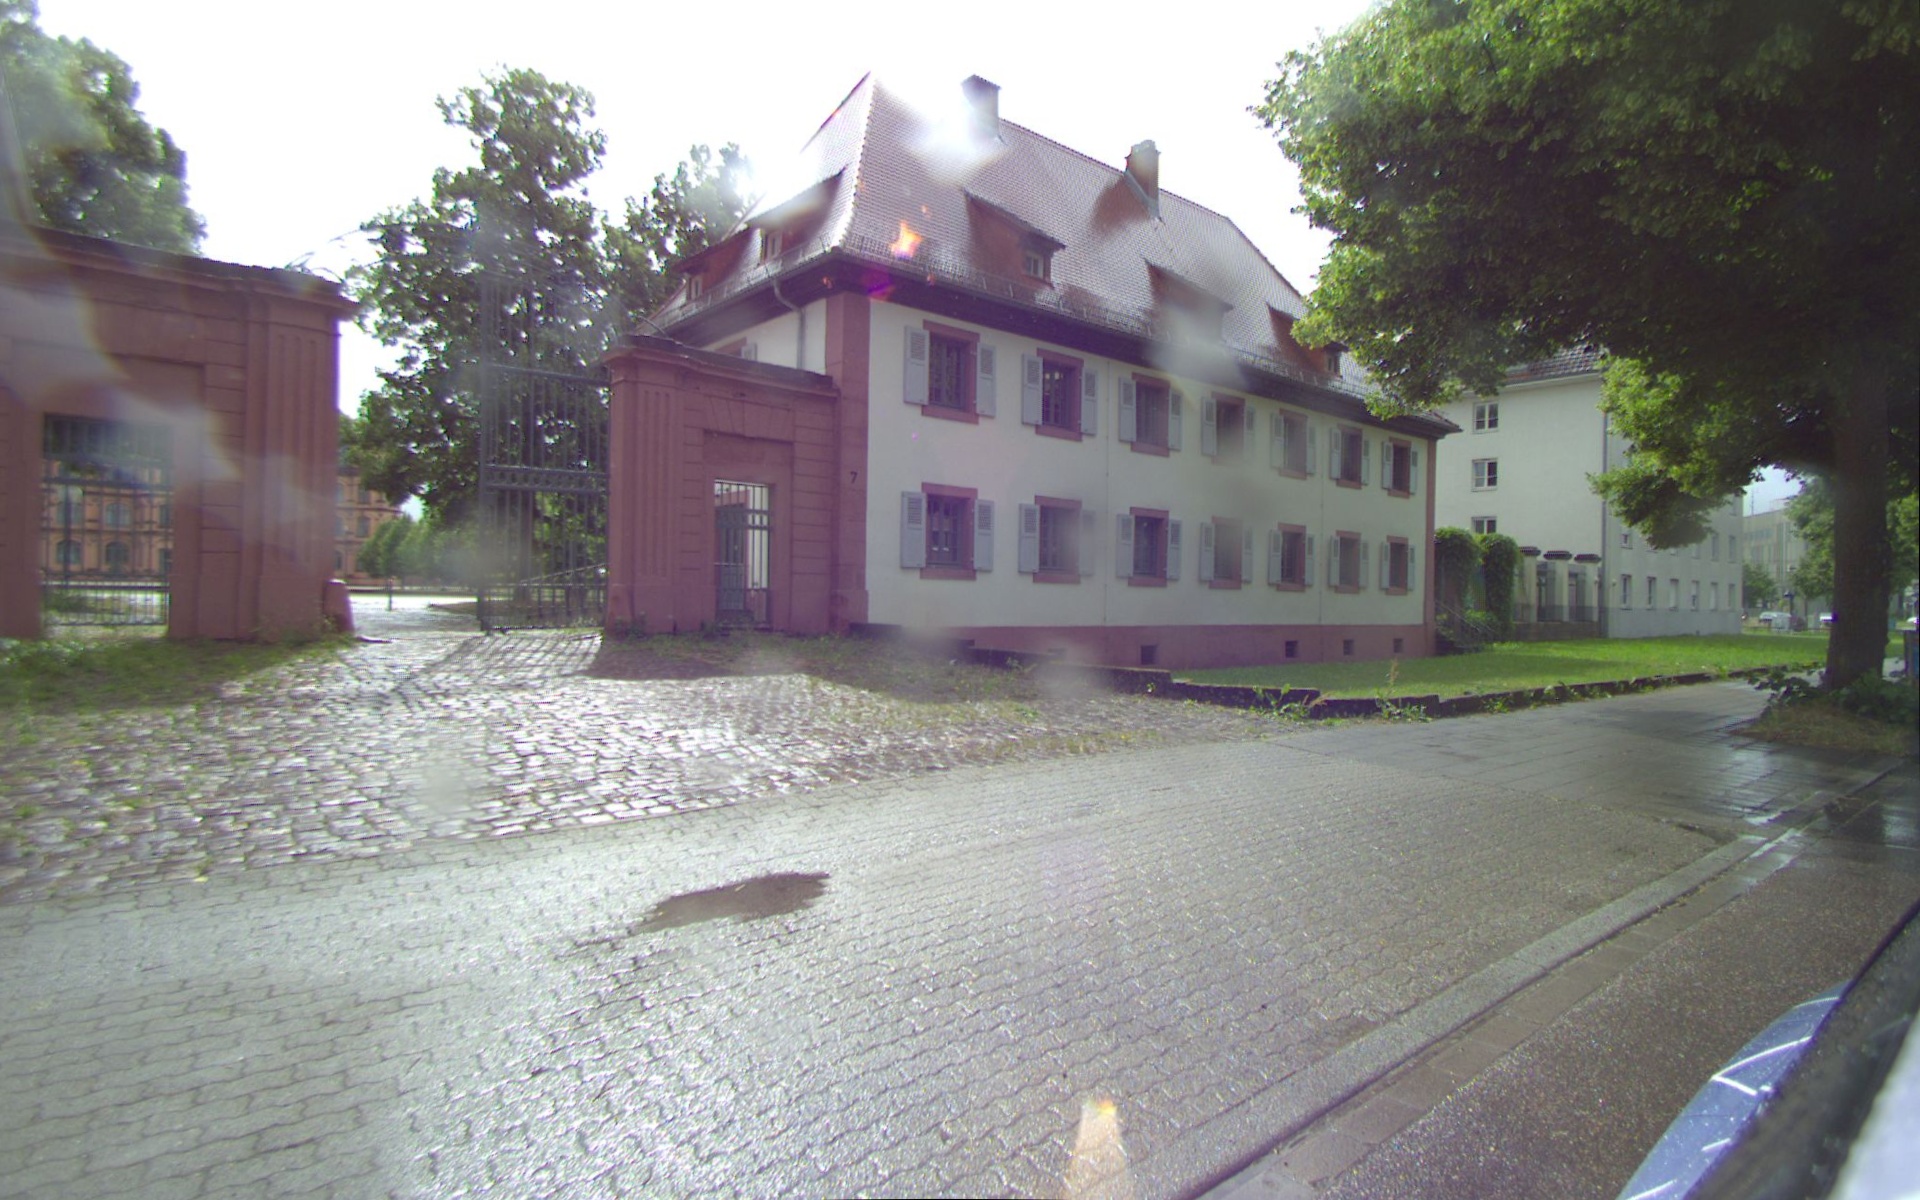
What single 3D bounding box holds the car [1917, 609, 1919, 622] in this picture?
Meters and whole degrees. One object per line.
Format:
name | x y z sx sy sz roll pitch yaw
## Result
car | 115.502 1.911 118.883 4.064 1.549 1.659 1 0 18
